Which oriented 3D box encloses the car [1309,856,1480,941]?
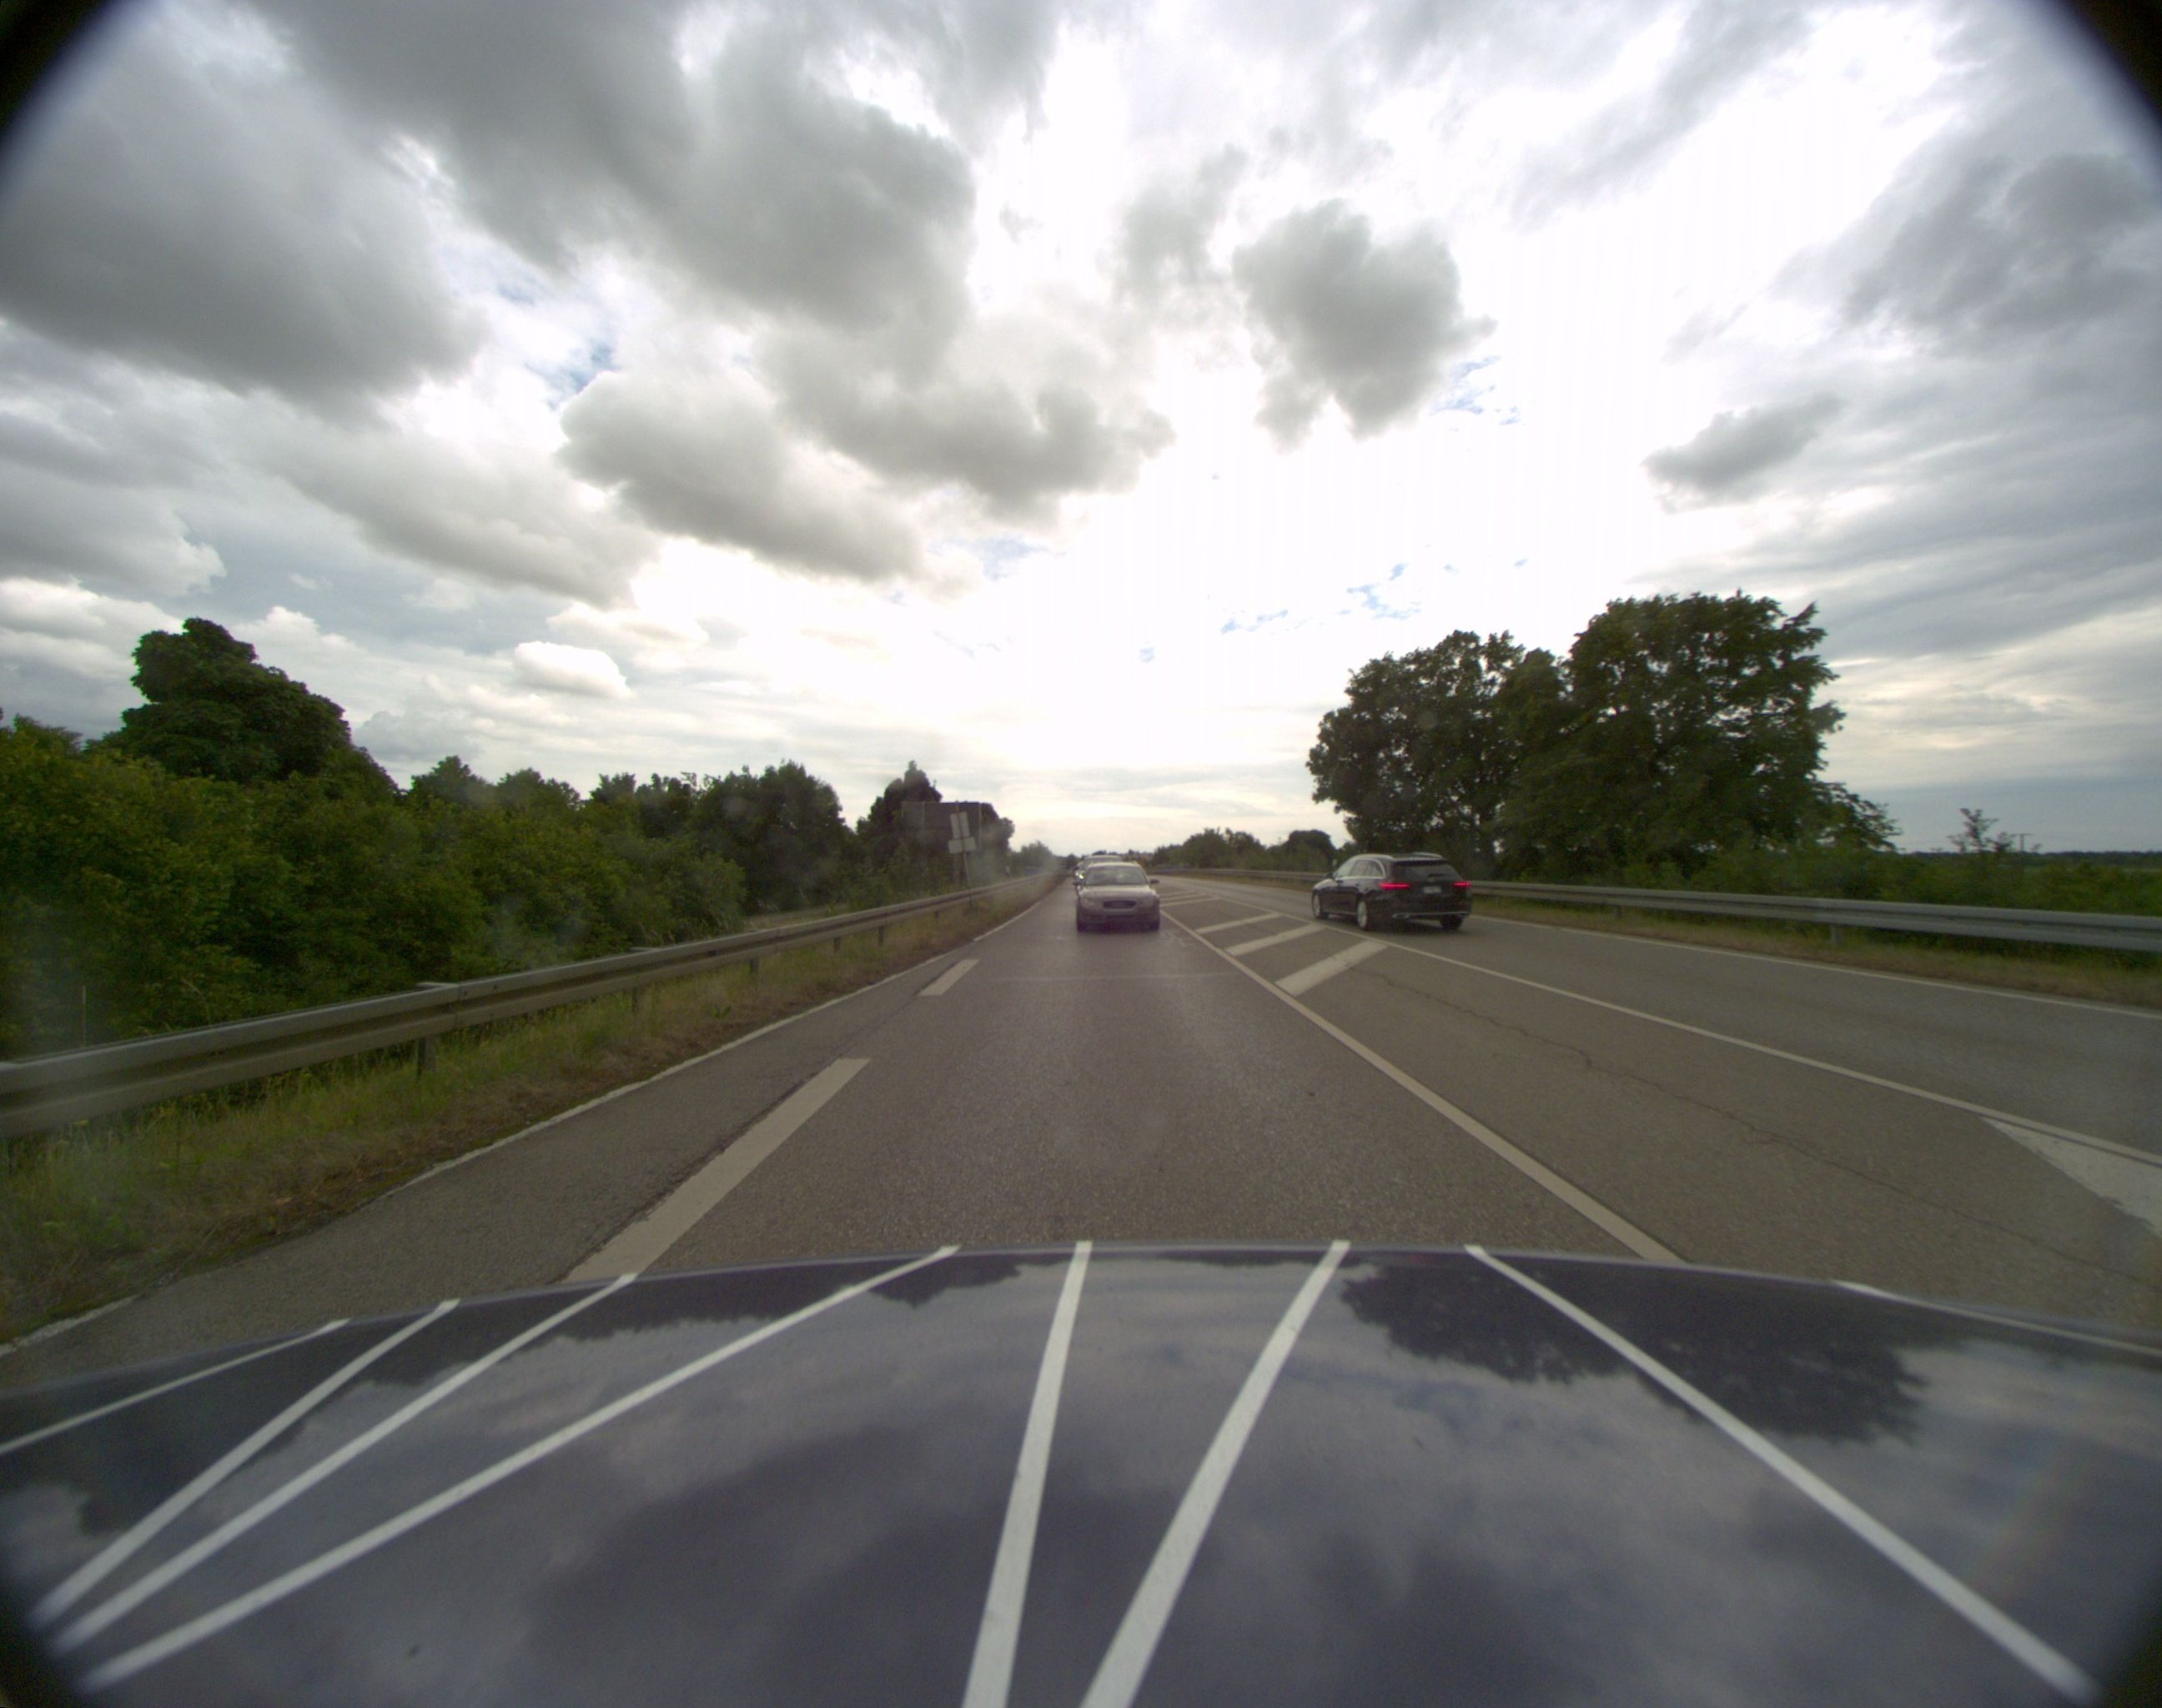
[{"bbox_3d":[6.093,0.778,15.340,1.675,1.421,4.257,-1,0,0],"label":"car"}]

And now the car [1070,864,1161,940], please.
[{"bbox_3d":[0.710,0.983,17.126,1.784,1.441,4.035,-1,0,1],"label":"car"}]

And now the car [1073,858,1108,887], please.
[{"bbox_3d":[0.547,1.005,42.602,1.834,1.537,4.035,-1,0,1],"label":"car"}]

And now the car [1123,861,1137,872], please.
[{"bbox_3d":[7.222,1.809,112.979,1.834,1.537,4.035,-1,0,1],"label":"car"}]

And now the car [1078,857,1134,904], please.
[{"bbox_3d":[0.872,0.907,27.753,1.834,1.537,4.035,-1,0,1],"label":"car"}]

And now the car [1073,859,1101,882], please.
[{"bbox_3d":[0.431,1.106,52.579,1.834,1.537,4.035,-1,0,1],"label":"car"}]
